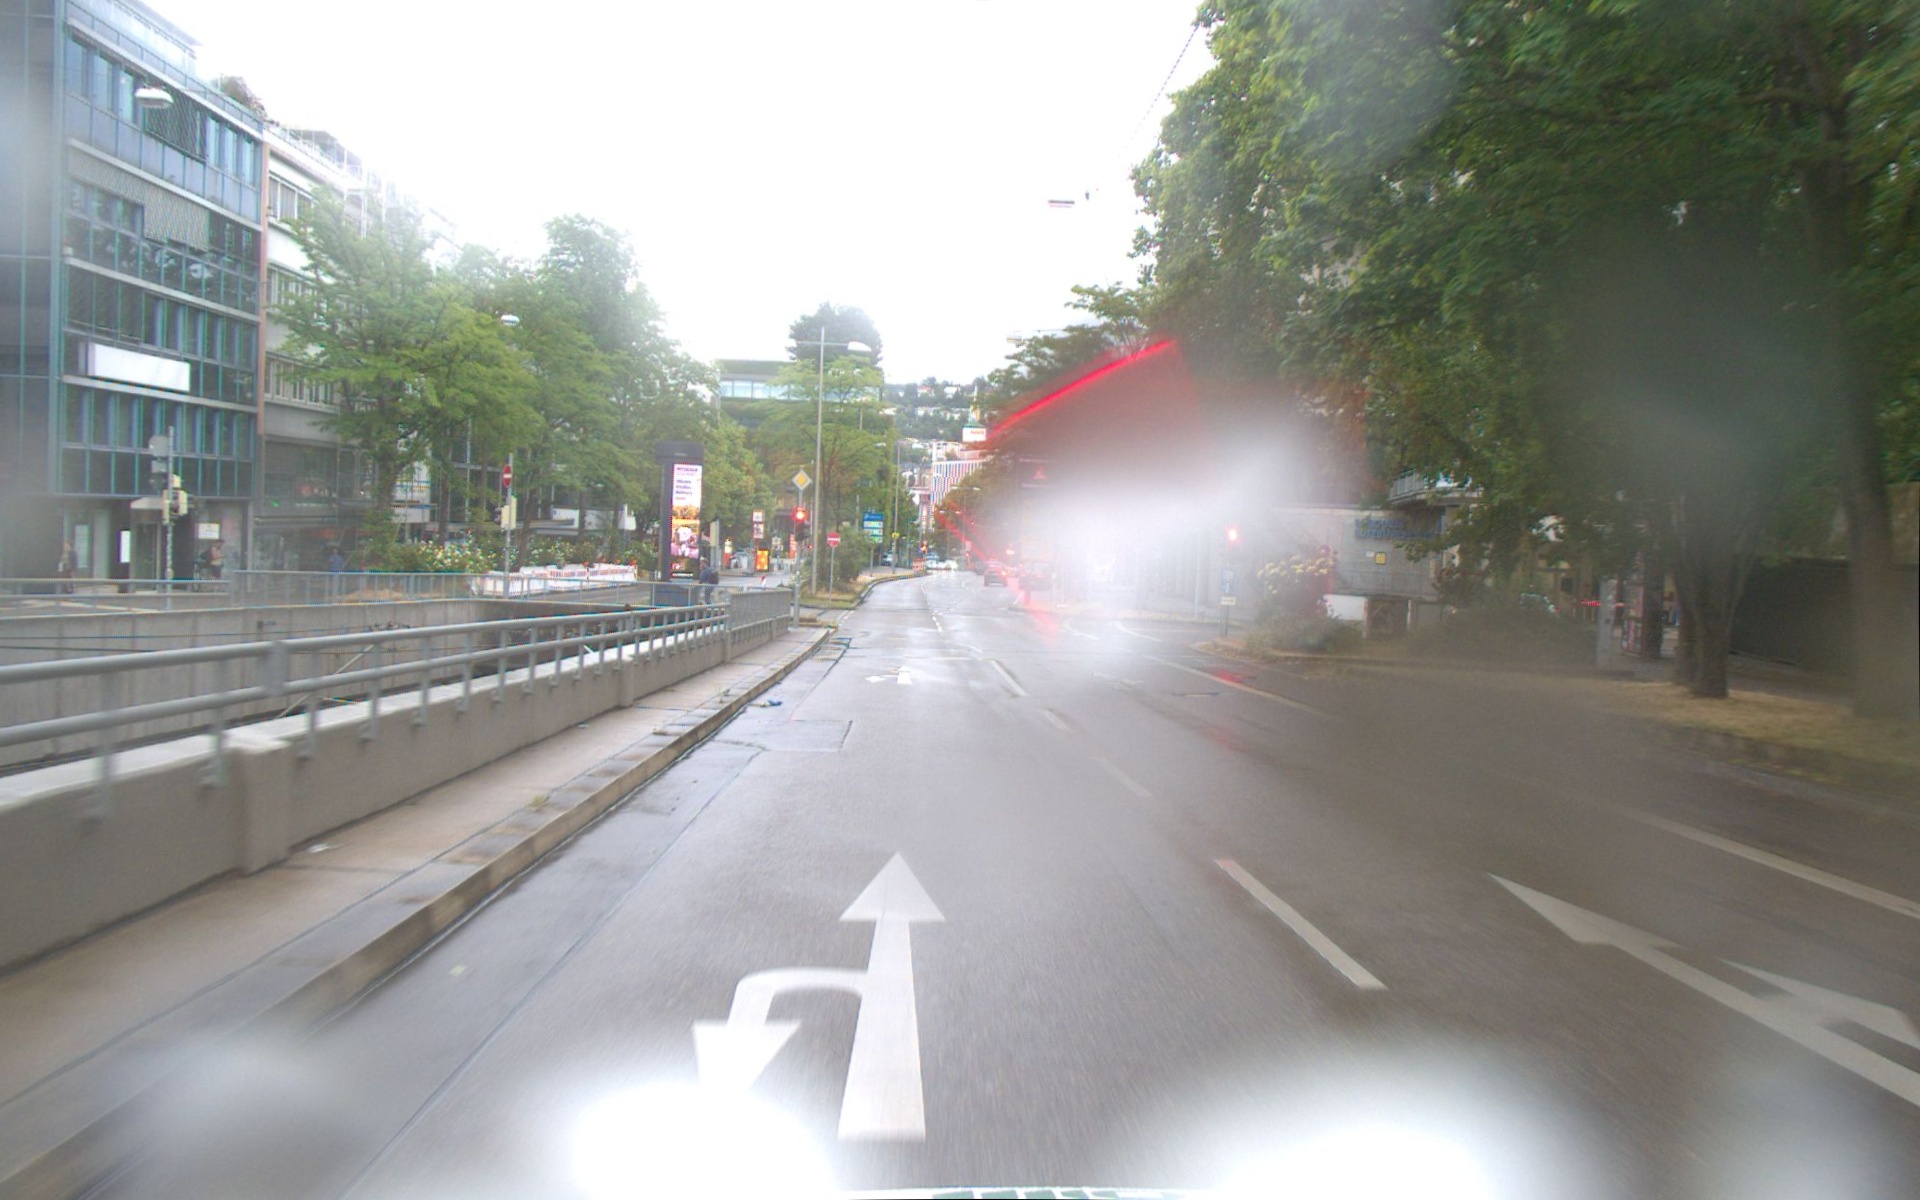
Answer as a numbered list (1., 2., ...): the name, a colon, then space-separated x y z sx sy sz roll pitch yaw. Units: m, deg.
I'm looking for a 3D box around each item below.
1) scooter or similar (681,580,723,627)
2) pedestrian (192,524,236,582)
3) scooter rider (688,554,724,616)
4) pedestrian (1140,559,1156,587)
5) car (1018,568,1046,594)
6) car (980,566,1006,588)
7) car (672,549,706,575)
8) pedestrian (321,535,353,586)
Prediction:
1. scooter or similar: -8.543 0.115 54.700 0.541 1.443 1.931 2 1 -35
2. pedestrian: -24.949 -1.568 55.327 0.846 1.900 0.960 3 1 17
3. scooter rider: -8.365 -0.486 54.526 0.802 1.982 0.812 2 1 -36
4. pedestrian: 10.822 -1.558 95.387 0.770 1.584 0.533 3 0 0
5. car: 4.991 -1.331 115.361 1.862 1.713 3.912 3 1 2
6. car: 2.540 -1.757 127.121 1.711 1.545 4.105 3 1 -2
7. car: -18.719 -2.614 114.395 1.745 1.582 3.893 3 3 -3
8. pedestrian: -24.237 -1.537 64.359 0.860 1.900 0.866 3 1 -5
